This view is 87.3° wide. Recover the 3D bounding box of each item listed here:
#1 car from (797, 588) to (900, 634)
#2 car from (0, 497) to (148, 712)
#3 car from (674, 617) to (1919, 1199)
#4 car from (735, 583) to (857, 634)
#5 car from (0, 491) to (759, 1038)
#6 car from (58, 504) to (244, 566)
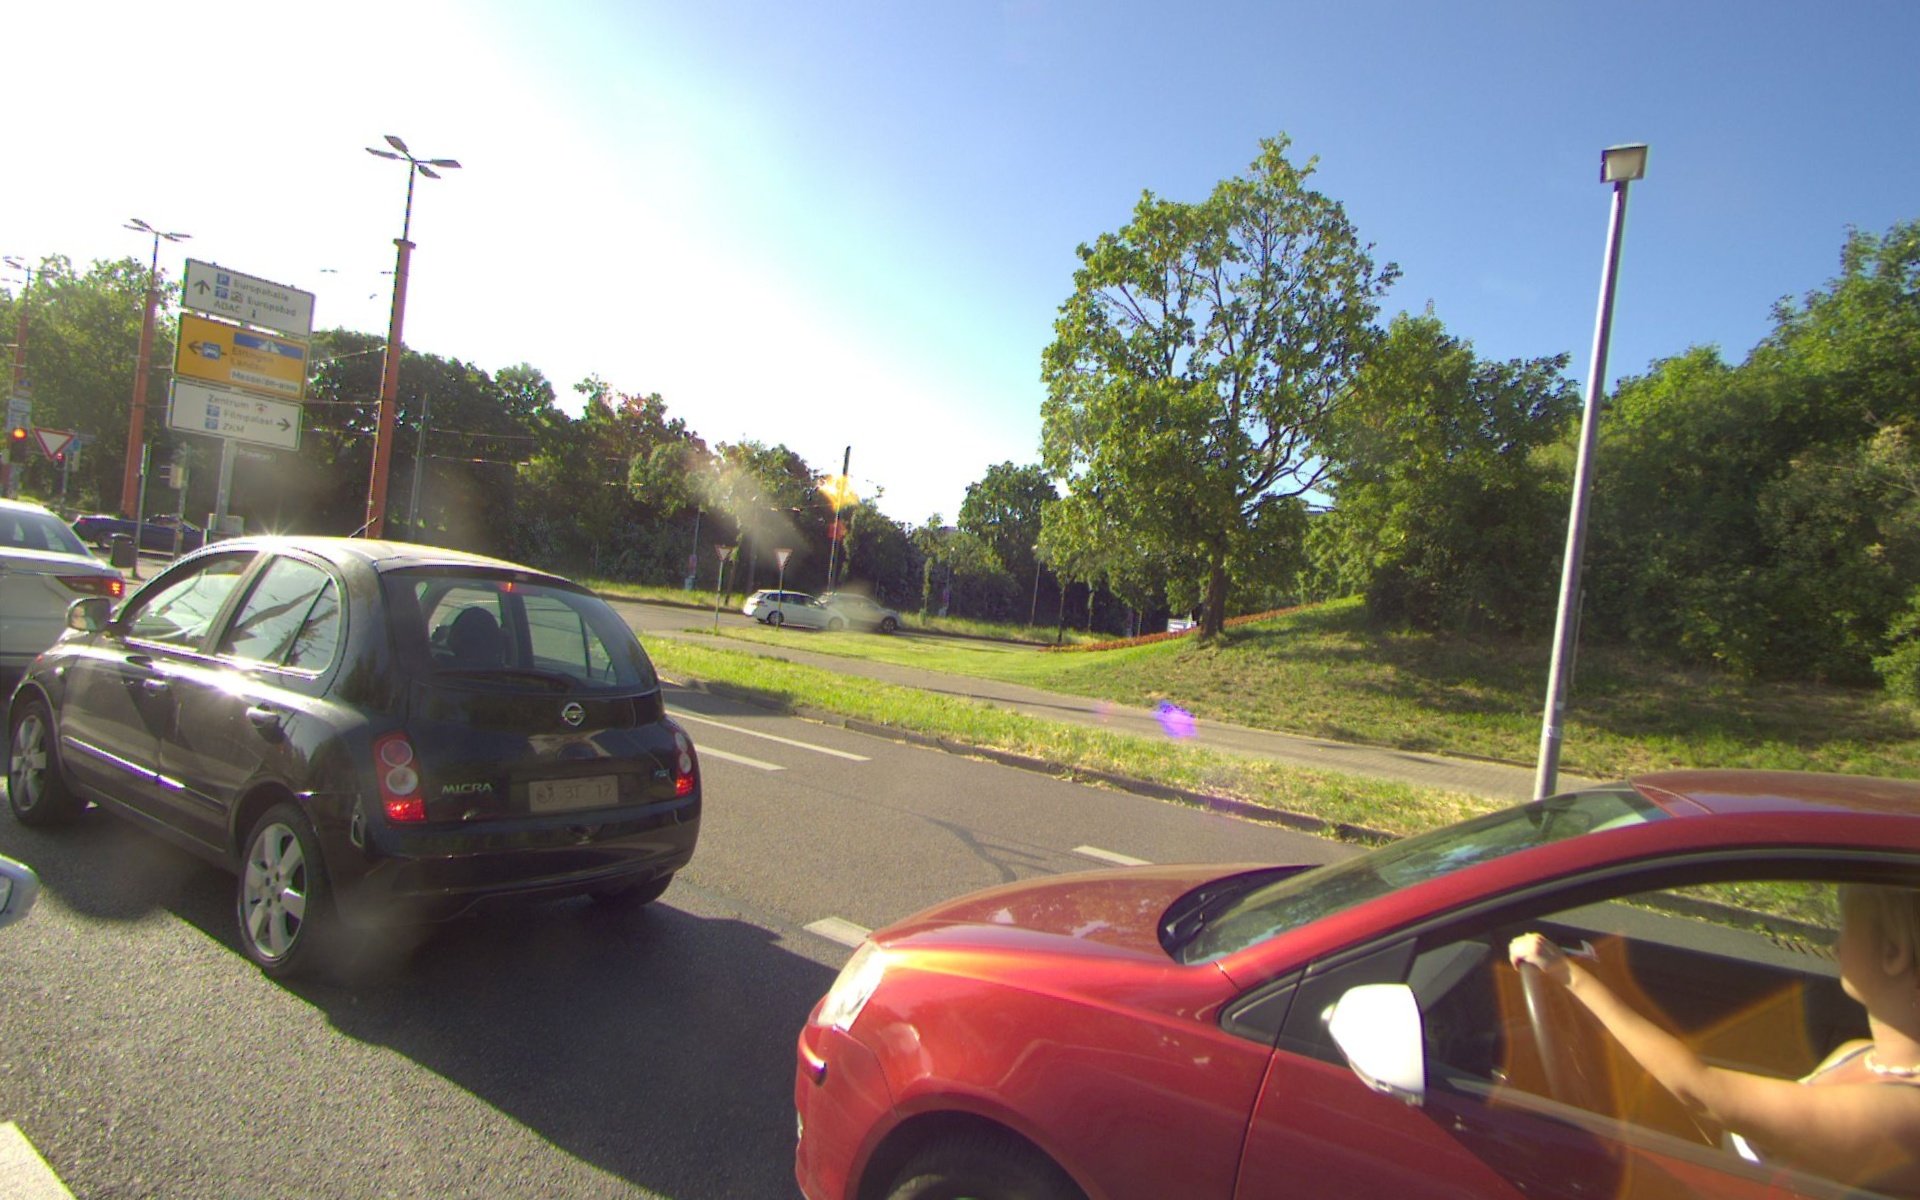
[{"bbox_3d":[-5.211,0.523,46.976,4.318,1.600,1.758,8,-1,-30],"label":"car"},{"bbox_3d":[-8.347,-0.164,7.974,4.077,1.472,1.717,7,-1,33],"label":"car"},{"bbox_3d":[1.371,0.990,1.890,3.634,1.434,1.624,7,-1,34],"label":"car"},{"bbox_3d":[-6.925,0.368,42.643,4.719,1.512,1.758,8,-1,-30],"label":"car"},{"bbox_3d":[-2.821,0.464,4.621,3.457,1.524,1.558,7,0,32],"label":"car"},{"bbox_3d":[-27.457,-2.182,34.373,4.617,1.379,1.758,8,-1,-30],"label":"car"}]
